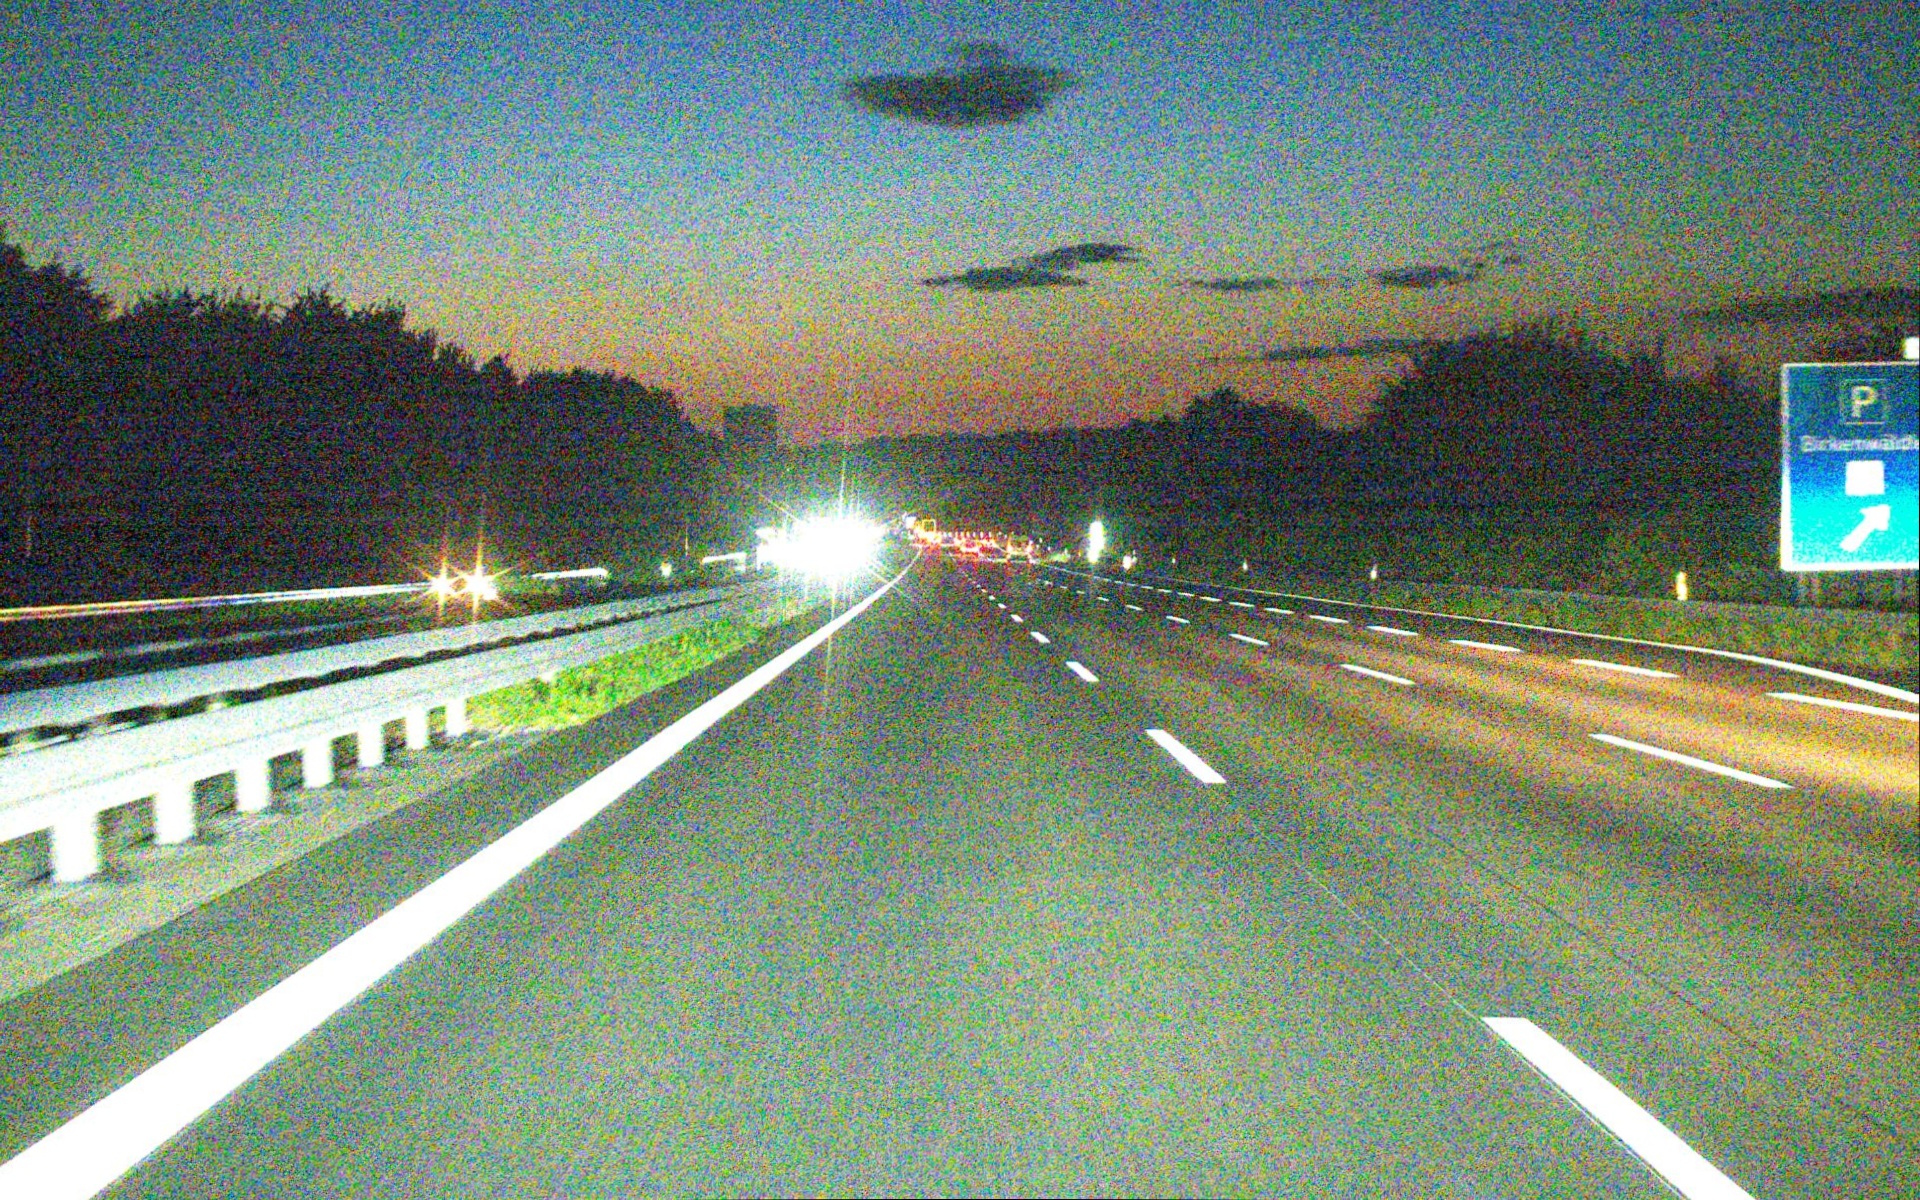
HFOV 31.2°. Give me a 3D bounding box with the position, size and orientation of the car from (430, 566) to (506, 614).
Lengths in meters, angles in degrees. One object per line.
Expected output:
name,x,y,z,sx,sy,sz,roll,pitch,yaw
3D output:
car,-17.645,-0.385,123.504,1.993,1.546,5.005,-4,1,-1
